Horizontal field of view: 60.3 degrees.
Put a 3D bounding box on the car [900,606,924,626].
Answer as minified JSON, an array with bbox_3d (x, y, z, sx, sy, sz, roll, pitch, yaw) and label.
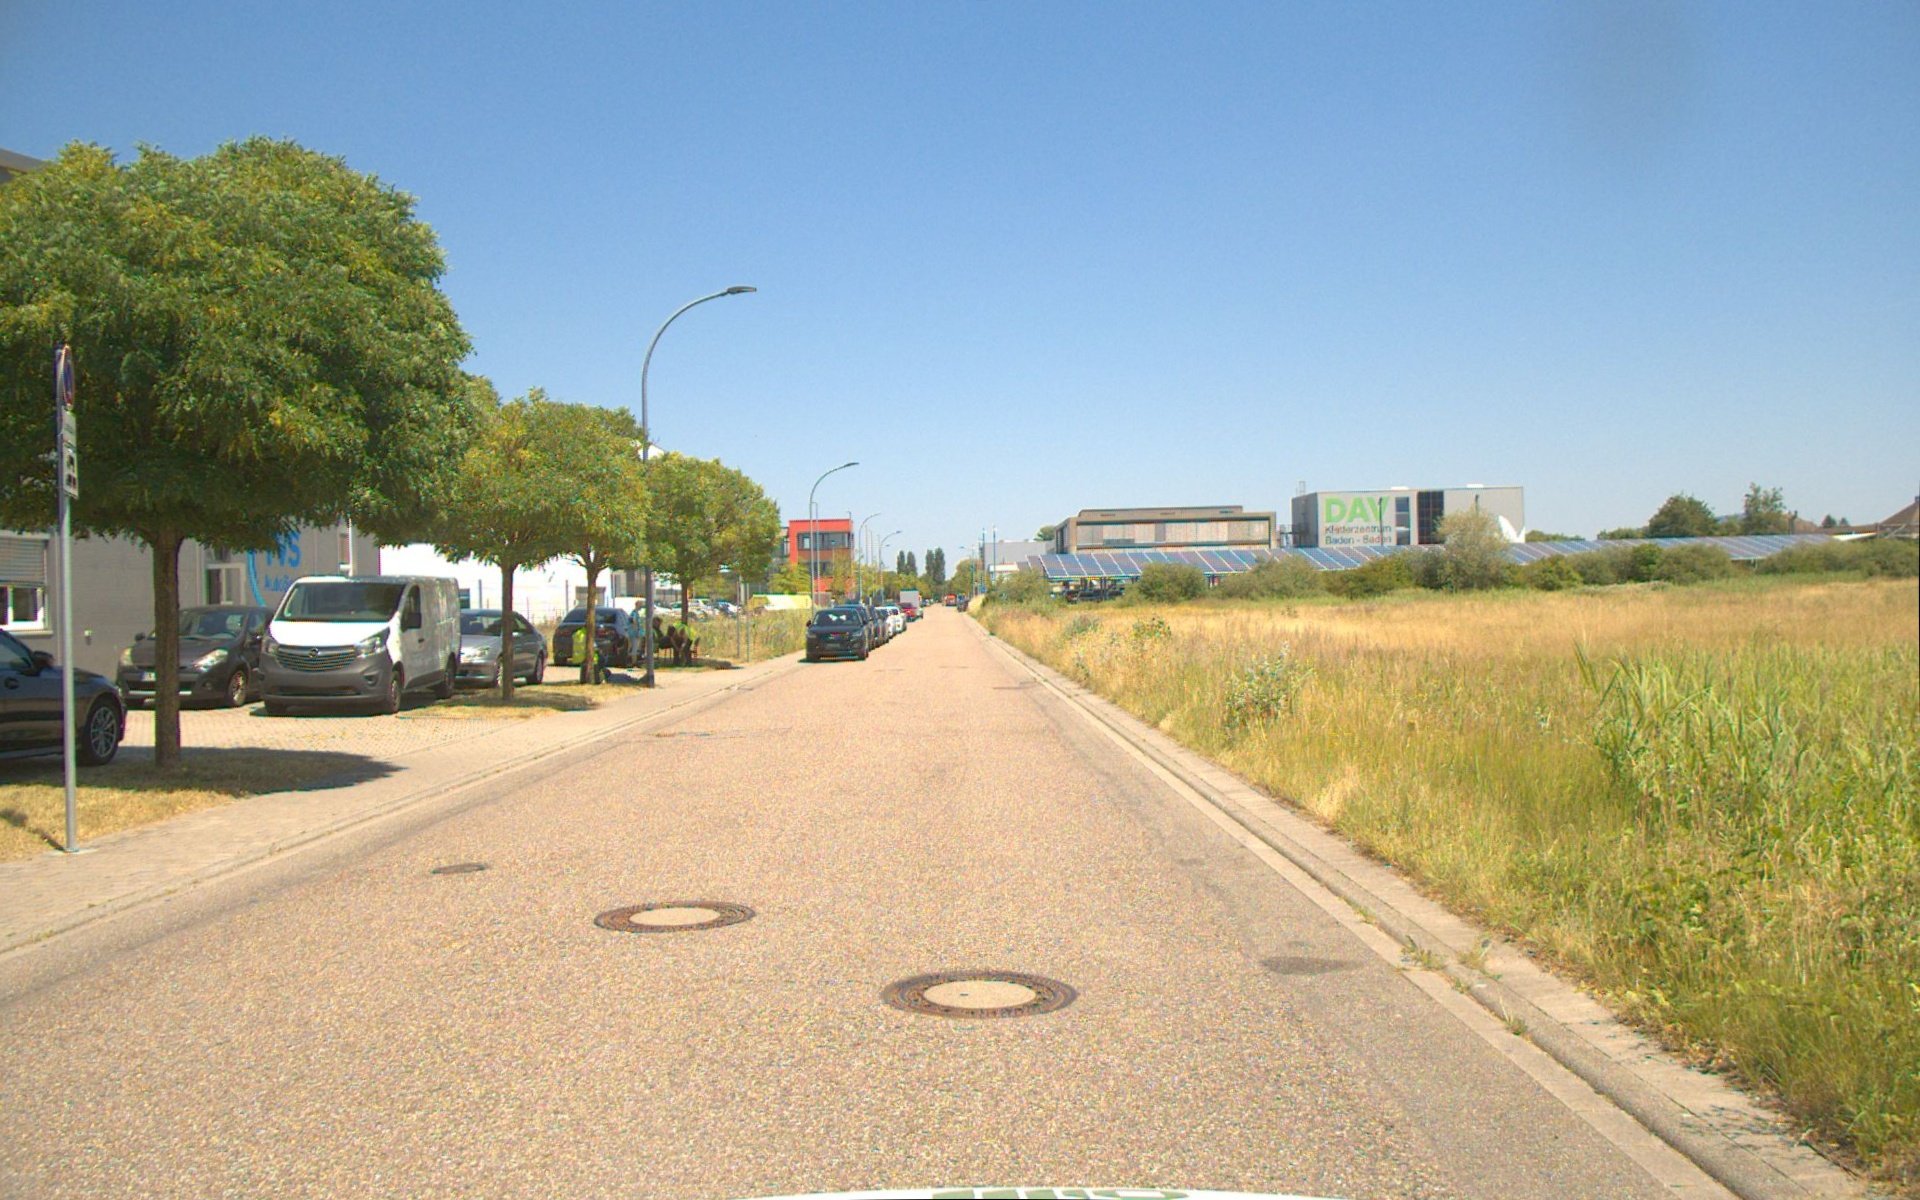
[{"bbox_3d":[-3.833,1.277,131.985,1.750,1.547,3.982,-2,0,-1],"label":"car"}]

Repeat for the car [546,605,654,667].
[{"bbox_3d":[-9.341,0.892,43.274,1.888,1.490,4.690,1,0,-2],"label":"car"}]

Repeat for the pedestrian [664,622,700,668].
[{"bbox_3d":[-7.019,1.136,41.796,0.735,1.118,0.647,1,-1,3],"label":"pedestrian"}]

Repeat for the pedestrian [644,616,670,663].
[{"bbox_3d":[-7.900,1.025,43.162,0.495,1.212,0.753,1,-1,2],"label":"pedestrian"}]

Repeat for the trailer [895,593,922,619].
[{"bbox_3d":[-4.425,0.526,143.557,2.156,2.175,4.285,-2,0,-1],"label":"trailer"}]

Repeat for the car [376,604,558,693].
[{"bbox_3d":[-9.041,0.888,30.774,1.887,1.466,4.840,-2,-1,0],"label":"car"}]

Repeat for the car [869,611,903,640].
[{"bbox_3d":[-4.147,1.412,93.271,1.750,1.547,3.982,-2,0,-1],"label":"car"}]

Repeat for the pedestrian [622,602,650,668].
[{"bbox_3d":[-8.131,0.877,41.545,0.495,1.623,0.753,1,-1,2],"label":"pedestrian"}]

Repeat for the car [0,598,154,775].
[{"bbox_3d":[-9.012,0.732,14.363,1.729,1.479,4.713,1,0,-1],"label":"car"}]

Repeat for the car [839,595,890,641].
[{"bbox_3d":[-3.772,0.683,65.838,1.733,1.692,4.551,-2,0,-1],"label":"car"}]

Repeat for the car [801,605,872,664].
[{"bbox_3d":[-3.648,0.993,49.523,1.888,1.595,4.188,-2,0,-2],"label":"car"}]

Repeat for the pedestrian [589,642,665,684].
[{"bbox_3d":[-6.611,1.247,32.891,1.330,0.762,0.753,2,0,1],"label":"pedestrian"}]

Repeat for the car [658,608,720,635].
[{"bbox_3d":[-21.354,1.698,130.384,4.436,1.977,2.031,-2,0,0],"label":"car"}]

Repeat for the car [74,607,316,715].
[{"bbox_3d":[-11.551,0.868,25.299,1.888,1.466,4.085,1,0,-2],"label":"car"}]

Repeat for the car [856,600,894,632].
[{"bbox_3d":[-4.201,0.766,82.133,1.750,1.547,3.982,-1,0,-1],"label":"car"}]

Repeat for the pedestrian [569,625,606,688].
[{"bbox_3d":[-7.097,1.075,31.505,0.468,1.170,0.555,1,-3,9],"label":"pedestrian"}]

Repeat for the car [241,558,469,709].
[{"bbox_3d":[-9.050,0.463,25.235,1.800,2.054,5.123,0,0,-3],"label":"car"}]

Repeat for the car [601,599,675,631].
[{"bbox_3d":[-21.422,0.974,110.082,4.436,1.977,2.031,-2,0,0],"label":"car"}]
